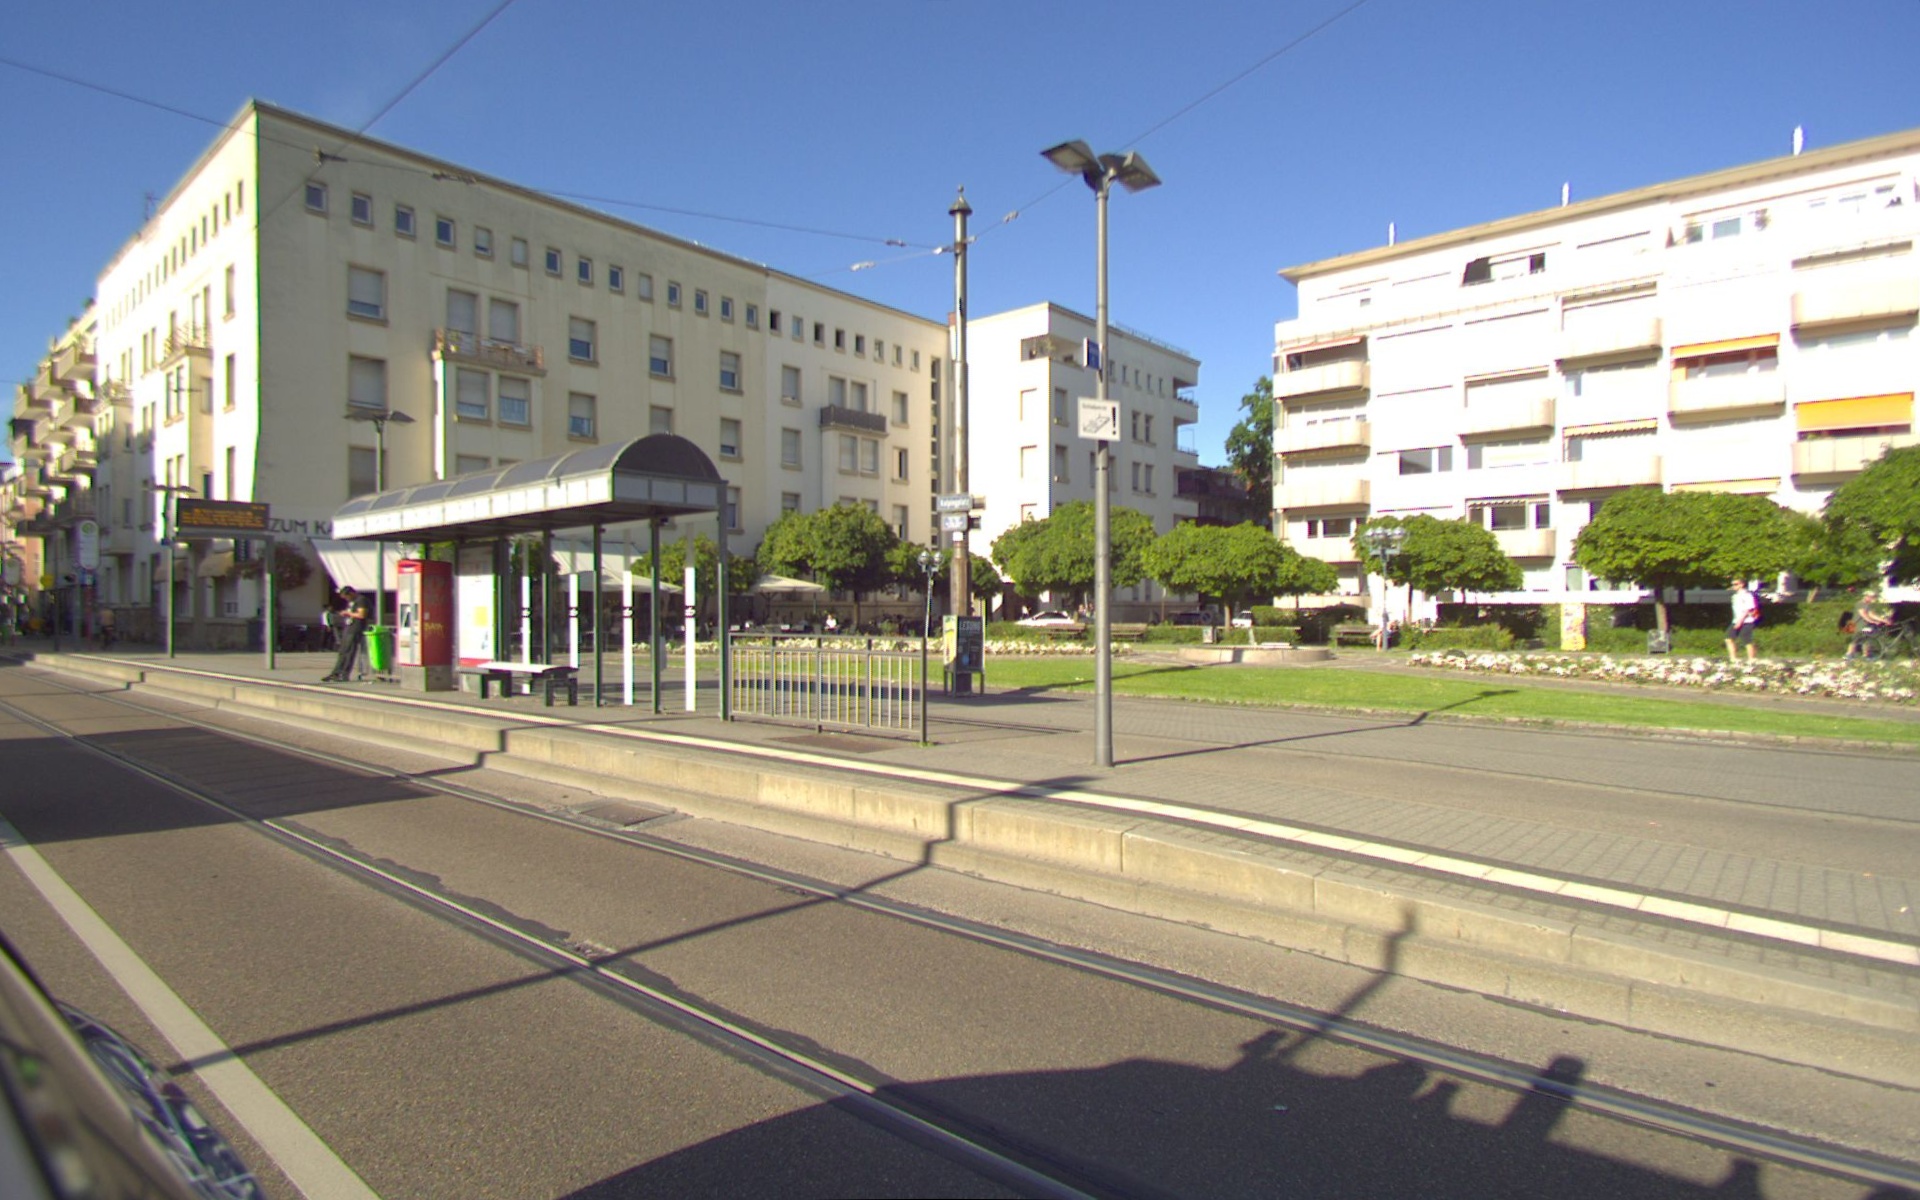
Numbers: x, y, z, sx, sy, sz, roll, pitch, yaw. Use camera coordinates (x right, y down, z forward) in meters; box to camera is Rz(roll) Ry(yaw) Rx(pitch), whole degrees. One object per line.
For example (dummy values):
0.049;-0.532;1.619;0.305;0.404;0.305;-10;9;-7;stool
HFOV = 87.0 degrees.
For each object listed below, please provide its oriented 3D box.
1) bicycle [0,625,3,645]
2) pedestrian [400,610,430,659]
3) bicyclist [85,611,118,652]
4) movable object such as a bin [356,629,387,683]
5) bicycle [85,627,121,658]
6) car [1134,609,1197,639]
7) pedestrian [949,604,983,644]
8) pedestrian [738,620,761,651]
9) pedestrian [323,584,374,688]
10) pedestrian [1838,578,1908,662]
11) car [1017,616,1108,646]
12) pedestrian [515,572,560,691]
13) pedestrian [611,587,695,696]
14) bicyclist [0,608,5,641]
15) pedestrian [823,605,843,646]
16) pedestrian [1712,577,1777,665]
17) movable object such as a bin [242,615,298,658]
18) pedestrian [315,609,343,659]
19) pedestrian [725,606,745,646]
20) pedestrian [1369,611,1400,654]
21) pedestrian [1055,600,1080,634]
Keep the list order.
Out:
-53.656;1.931;56.014;2.033;1.134;0.705;-1;-1;37;bicycle
-18.983;1.210;35.246;0.665;1.657;0.676;-2;-4;2;pedestrian
-32.110;1.169;37.853;0.876;1.466;0.819;-1;0;40;bicyclist
-9.704;0.914;16.682;0.416;0.866;0.332;-1;-1;44;movable object such as a bin
-31.965;1.572;37.727;1.975;1.121;0.721;-1;-1;40;bicycle
10.600;1.244;52.261;2.932;1.497;1.399;-1;-1;41;car
0.267;1.068;45.417;1.078;1.801;1.164;-1;-1;32;pedestrian
-8.780;1.485;42.141;0.672;1.280;0.636;-4;-5;36;pedestrian
-10.435;0.620;17.265;0.607;1.731;0.542;-1;-3;43;pedestrian
22.792;0.498;25.293;1.232;2.029;1.207;-1;-1;41;pedestrian
4.665;1.388;46.218;3.713;1.310;1.973;-1;-1;41;car
-6.833;0.511;16.364;0.526;1.873;0.423;-1;-4;44;pedestrian
-4.973;0.653;16.405;0.981;1.693;0.976;1;-2;-41;pedestrian
-53.639;1.373;56.015;1.094;1.807;0.994;-1;-1;37;bicyclist
-5.455;1.102;43.550;0.710;1.750;0.673;-2;-4;1;pedestrian
16.695;0.440;21.535;0.932;1.831;0.871;0;-1;-38;pedestrian
-23.133;1.201;33.941;1.127;1.410;1.302;-1;-1;40;movable object such as a bin
-21.565;1.160;34.590;0.662;1.657;0.753;0;-4;-22;pedestrian
-10.326;1.198;46.427;0.677;1.750;0.671;-3;-4;14;pedestrian
13.832;1.039;32.969;0.678;1.370;1.039;-1;-1;36;pedestrian
6.474;1.044;61.028;1.090;2.029;1.079;-1;-1;40;pedestrian
